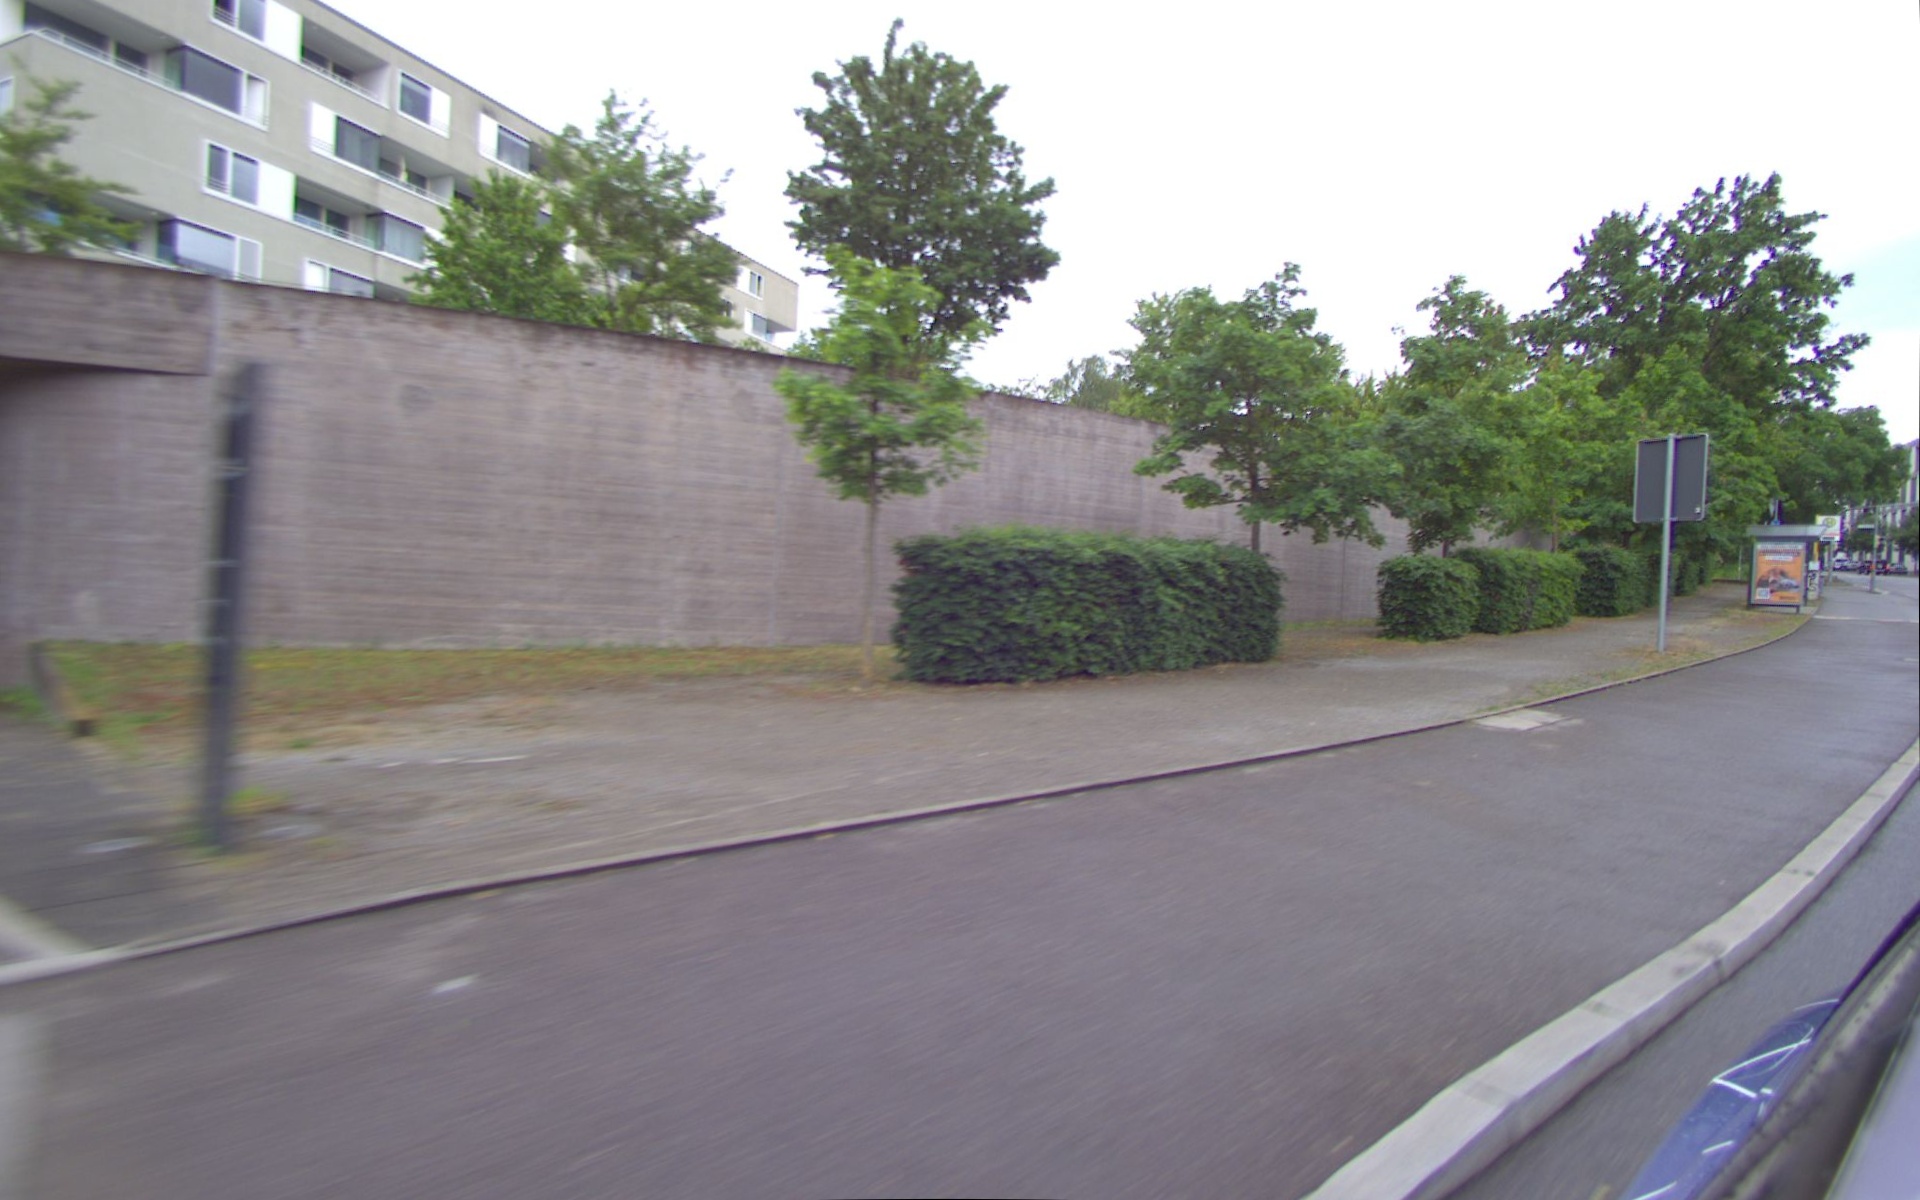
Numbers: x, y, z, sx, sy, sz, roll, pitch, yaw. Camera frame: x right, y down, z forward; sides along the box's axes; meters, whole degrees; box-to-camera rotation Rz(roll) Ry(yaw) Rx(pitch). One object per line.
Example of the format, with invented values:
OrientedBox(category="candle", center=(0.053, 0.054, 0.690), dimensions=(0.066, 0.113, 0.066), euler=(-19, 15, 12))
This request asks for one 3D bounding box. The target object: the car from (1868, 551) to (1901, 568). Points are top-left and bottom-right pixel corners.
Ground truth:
OrientedBox(category="car", center=(108.023, -4.736, 118.328), dimensions=(1.951, 1.861, 4.400), euler=(3, 3, 32))

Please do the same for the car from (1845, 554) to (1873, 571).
OrientedBox(category="car", center=(120.471, -5.011, 135.653), dimensions=(1.910, 2.039, 4.338), euler=(1, 1, 31))

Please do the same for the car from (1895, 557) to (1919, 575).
OrientedBox(category="car", center=(111.842, -4.001, 118.977), dimensions=(1.910, 2.039, 4.338), euler=(1, 1, 31))

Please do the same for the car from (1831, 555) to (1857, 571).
OrientedBox(category="car", center=(123.729, -5.191, 141.695), dimensions=(1.910, 2.039, 4.338), euler=(1, 1, 31))
